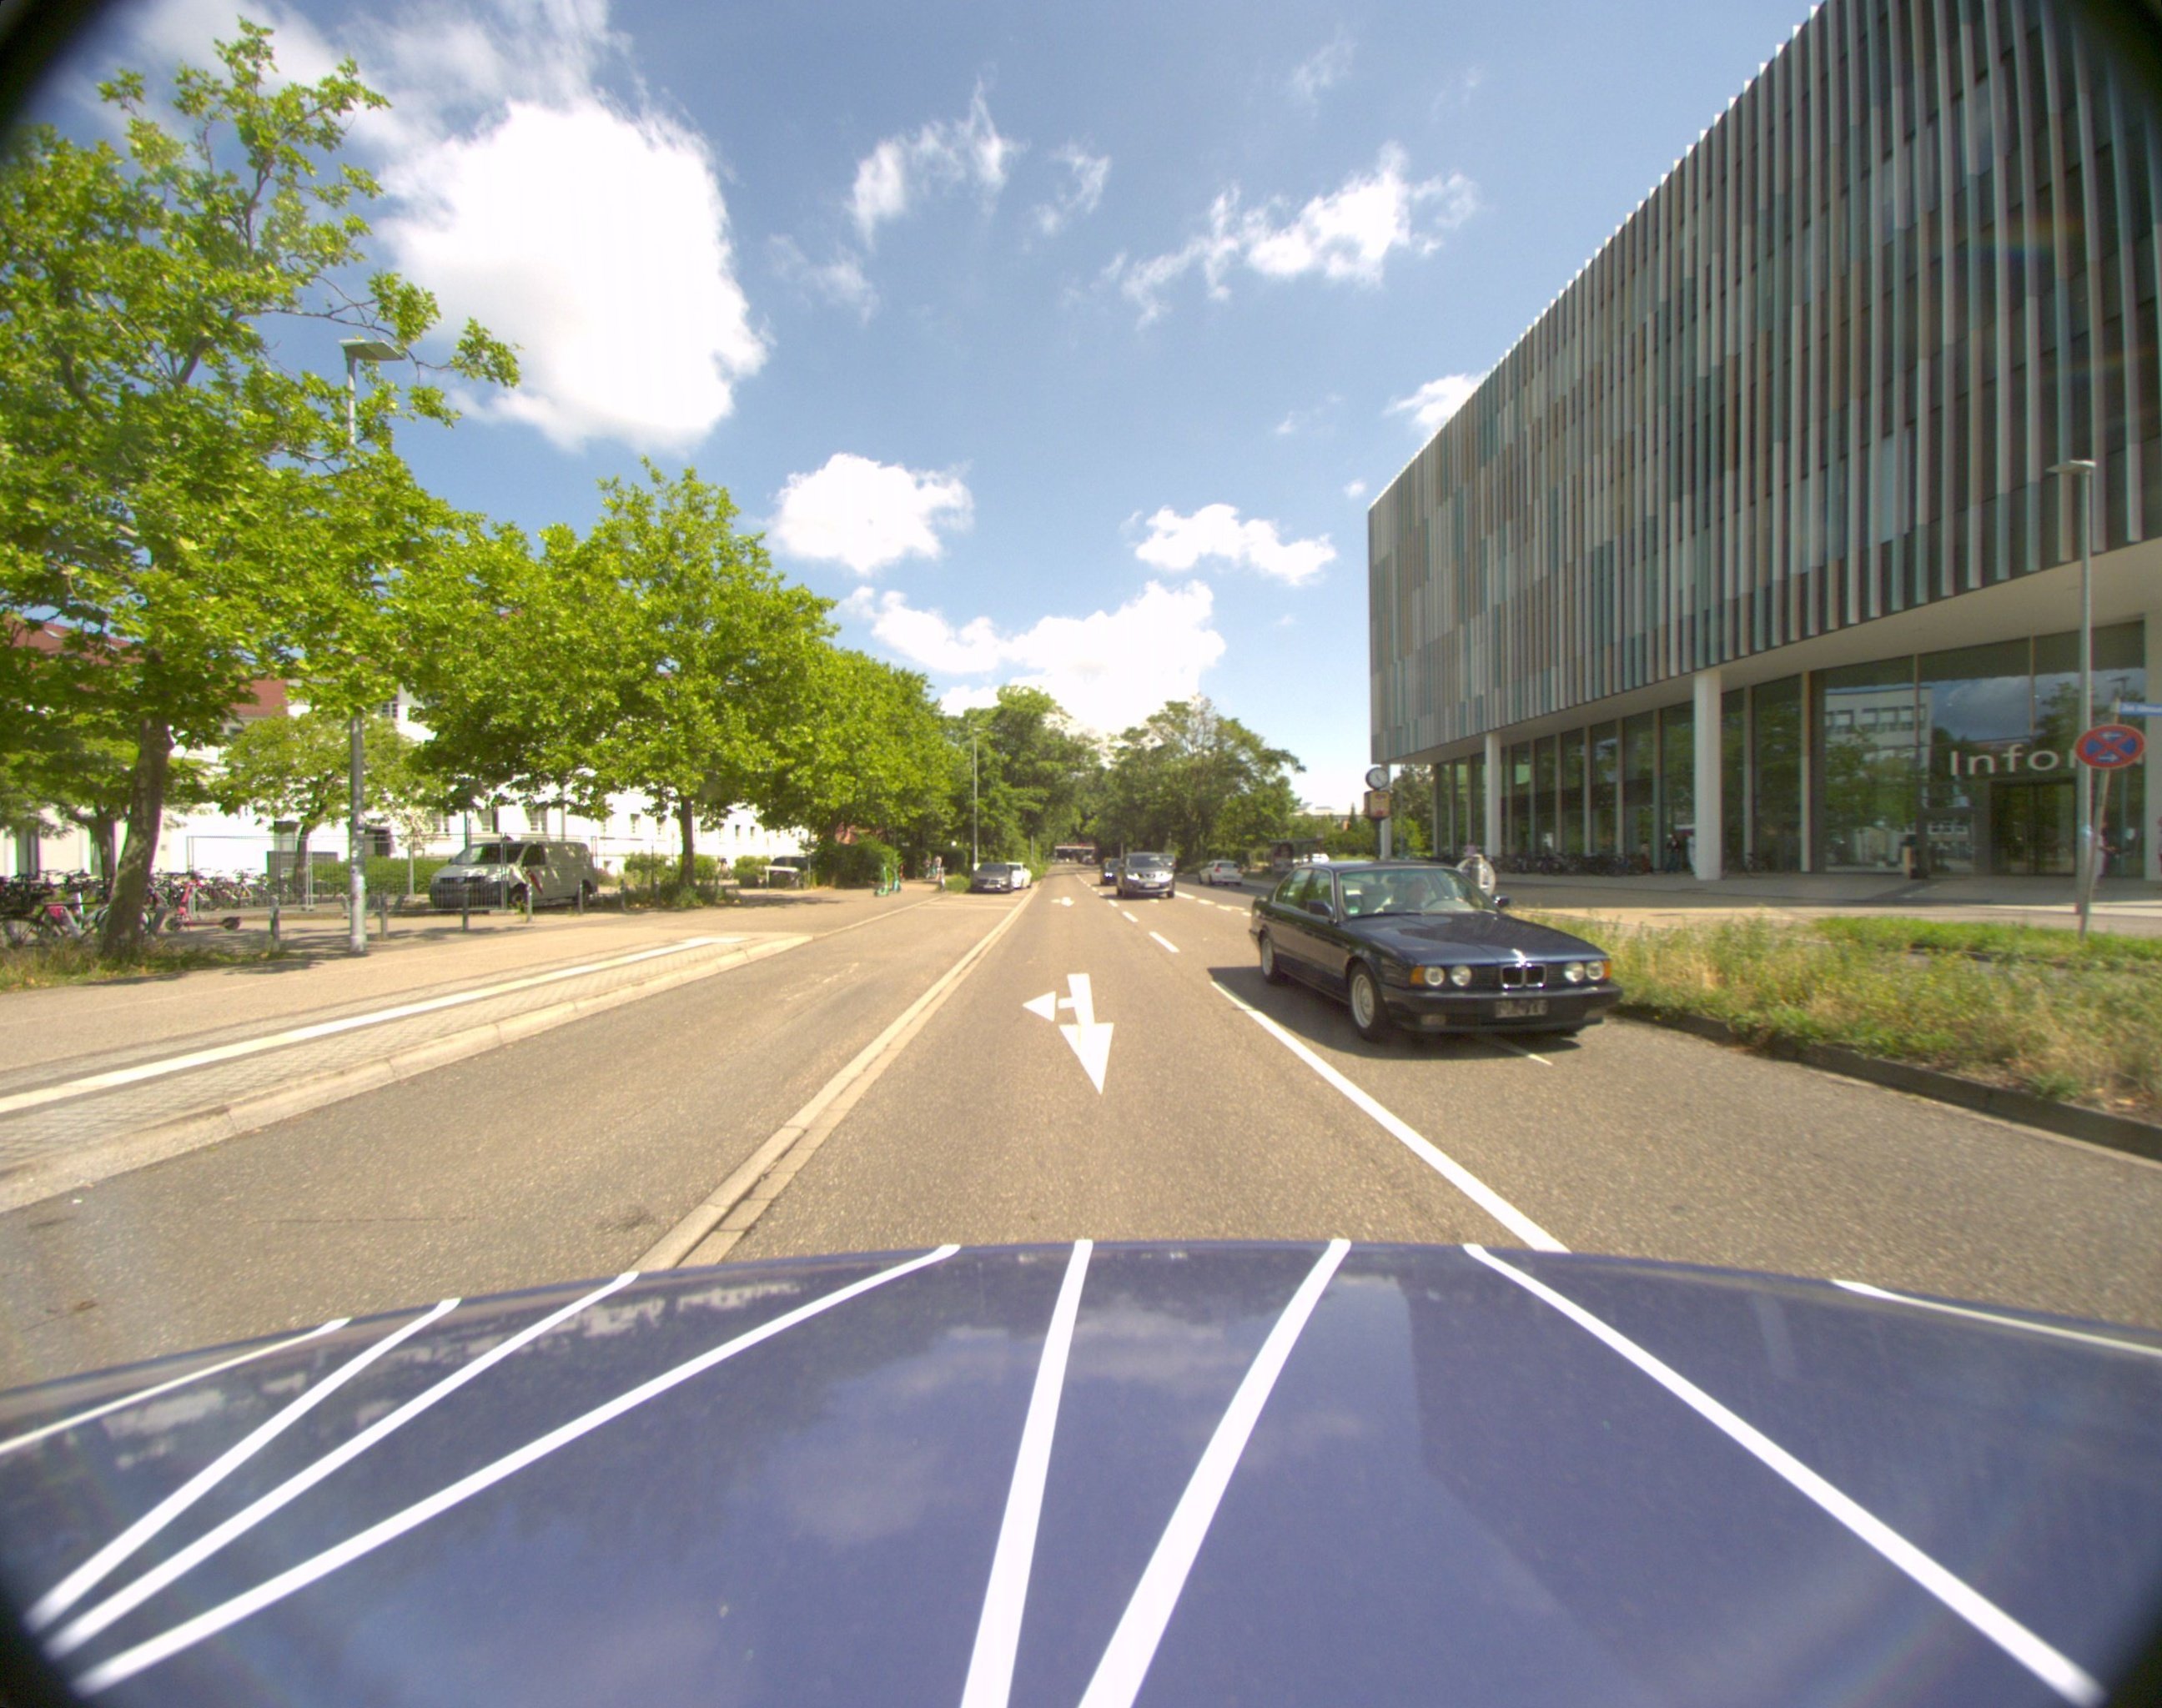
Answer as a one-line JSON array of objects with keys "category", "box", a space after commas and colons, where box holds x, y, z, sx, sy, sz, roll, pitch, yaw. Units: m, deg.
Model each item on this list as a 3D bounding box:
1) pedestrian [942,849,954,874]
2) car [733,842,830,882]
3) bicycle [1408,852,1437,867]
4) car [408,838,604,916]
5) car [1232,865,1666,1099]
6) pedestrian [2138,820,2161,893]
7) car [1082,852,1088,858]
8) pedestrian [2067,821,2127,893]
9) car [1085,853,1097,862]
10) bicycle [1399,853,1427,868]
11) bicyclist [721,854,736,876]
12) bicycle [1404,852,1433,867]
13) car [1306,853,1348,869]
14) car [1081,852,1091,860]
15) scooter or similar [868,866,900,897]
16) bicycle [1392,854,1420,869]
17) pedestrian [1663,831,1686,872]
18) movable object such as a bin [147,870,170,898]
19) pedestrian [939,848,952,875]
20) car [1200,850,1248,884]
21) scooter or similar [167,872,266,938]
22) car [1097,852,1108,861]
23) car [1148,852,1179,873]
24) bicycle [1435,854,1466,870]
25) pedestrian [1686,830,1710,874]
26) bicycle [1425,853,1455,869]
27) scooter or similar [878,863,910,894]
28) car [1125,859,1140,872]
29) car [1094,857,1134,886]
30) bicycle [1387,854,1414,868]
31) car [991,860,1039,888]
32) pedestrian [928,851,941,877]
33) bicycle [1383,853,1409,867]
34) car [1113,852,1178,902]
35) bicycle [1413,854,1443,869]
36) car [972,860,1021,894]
[{"category": "pedestrian", "box": [-9.589, 0.506, 54.798, 0.684, 1.770, 0.790, -3, 1, -9]}, {"category": "car", "box": [-14.892, 0.386, 38.007, 3.998, 1.772, 1.999, -3, 1, -4]}, {"category": "bicycle", "box": [23.774, 0.388, 52.903, 1.784, 0.950, 0.433, -3, 1, -2]}, {"category": "car", "box": [-15.644, 0.551, 21.115, 1.903, 1.854, 4.939, -2, 1, -4]}, {"category": "car", "box": [2.871, 0.862, 7.253, 1.696, 1.378, 4.612, -2, 0, -3]}, {"category": "pedestrian", "box": [27.576, 0.050, 19.227, 0.690, 1.831, 0.678, -2, 1, 6]}, {"category": "car", "box": [1.089, 0.303, 204.896, 1.757, 1.502, 3.827, -3, 1, 0]}, {"category": "pedestrian", "box": [26.536, 0.077, 19.856, 0.787, 1.831, 0.518, -1, 1, 33]}, {"category": "car", "box": [1.861, 0.593, 140.625, 1.898, 1.502, 3.829, -3, 1, 4]}, {"category": "bicycle", "box": [23.693, 0.446, 54.289, 1.784, 0.950, 0.433, -3, 1, -2]}, {"category": "bicyclist", "box": [-22.091, 0.688, 47.622, 0.608, 1.313, 0.742, 0, 1, -5]}, {"category": "bicycle", "box": [23.744, 0.390, 53.485, 1.784, 0.950, 0.433, -3, 1, -2]}, {"category": "car", "box": [26.164, 0.749, 80.792, 3.824, 1.502, 1.900, -3, 1, 4]}, {"category": "car", "box": [1.020, 0.410, 161.031, 1.898, 1.502, 3.829, -3, 1, 4]}, {"category": "scooter or similar", "box": [-7.593, 1.043, 29.296, 0.529, 1.162, 1.576, 1, 0, 12]}, {"category": "bicycle", "box": [23.632, 0.548, 55.235, 1.784, 0.950, 0.433, -3, 1, -2]}, {"category": "pedestrian", "box": [26.438, -0.110, 33.871, 0.562, 1.831, 0.554, -2, 1, -9]}, {"category": "movable object such as a bin", "box": [-34.810, 1.132, 28.678, 0.389, 1.049, 0.368, 0, 1, -6]}, {"category": "pedestrian", "box": [-9.266, 0.522, 52.022, 0.684, 1.770, 0.790, -3, 1, -18]}, {"category": "car", "box": [7.978, 0.733, 42.911, 1.729, 1.800, 4.732, 1, 0, -1]}, {"category": "scooter or similar", "box": [-17.217, 1.010, 15.146, 1.299, 1.226, 0.280, -2, 2, -16]}, {"category": "car", "box": [4.011, 0.479, 141.933, 1.898, 1.502, 3.829, -3, 1, 4]}, {"category": "car", "box": [7.236, 0.751, 66.995, 1.903, 1.801, 4.730, 0, 0, -4]}, {"category": "bicycle", "box": [23.982, 0.505, 49.332, 1.784, 0.950, 0.433, -3, 1, -2]}, {"category": "pedestrian", "box": [26.164, -0.101, 32.215, 0.562, 1.831, 0.554, -2, 1, -9]}, {"category": "bicycle", "box": [23.806, 0.456, 50.359, 1.784, 0.950, 0.433, -3, 1, -2]}, {"category": "scooter or similar", "box": [-7.792, 1.007, 31.676, 0.528, 1.239, 1.292, 1, 0, 33]}, {"category": "car", "box": [6.816, 1.550, 101.172, 1.898, 1.502, 3.829, -3, 1, 4]}, {"category": "car", "box": [1.885, 0.917, 41.869, 1.828, 1.407, 4.193, -2, 0, 7]}, {"category": "bicycle", "box": [23.648, 0.537, 56.290, 1.784, 0.950, 0.433, -3, 1, -2]}, {"category": "car", "box": [-3.534, 1.030, 41.400, 1.742, 1.442, 4.944, 1, 0, 5]}, {"category": "pedestrian", "box": [-10.021, 0.678, 51.980, 0.684, 1.770, 0.790, -3, 1, -17]}, {"category": "bicycle", "box": [23.606, 0.421, 56.959, 1.784, 0.950, 0.433, -3, 1, -2]}, {"category": "car", "box": [2.325, 0.783, 28.341, 1.824, 1.669, 4.477, -2, 0, -2]}, {"category": "bicycle", "box": [23.666, 0.488, 51.819, 1.784, 0.950, 0.433, -3, 1, -2]}, {"category": "car", "box": [-3.935, 1.046, 36.120, 1.861, 1.470, 4.941, 1, -1, -1]}]
